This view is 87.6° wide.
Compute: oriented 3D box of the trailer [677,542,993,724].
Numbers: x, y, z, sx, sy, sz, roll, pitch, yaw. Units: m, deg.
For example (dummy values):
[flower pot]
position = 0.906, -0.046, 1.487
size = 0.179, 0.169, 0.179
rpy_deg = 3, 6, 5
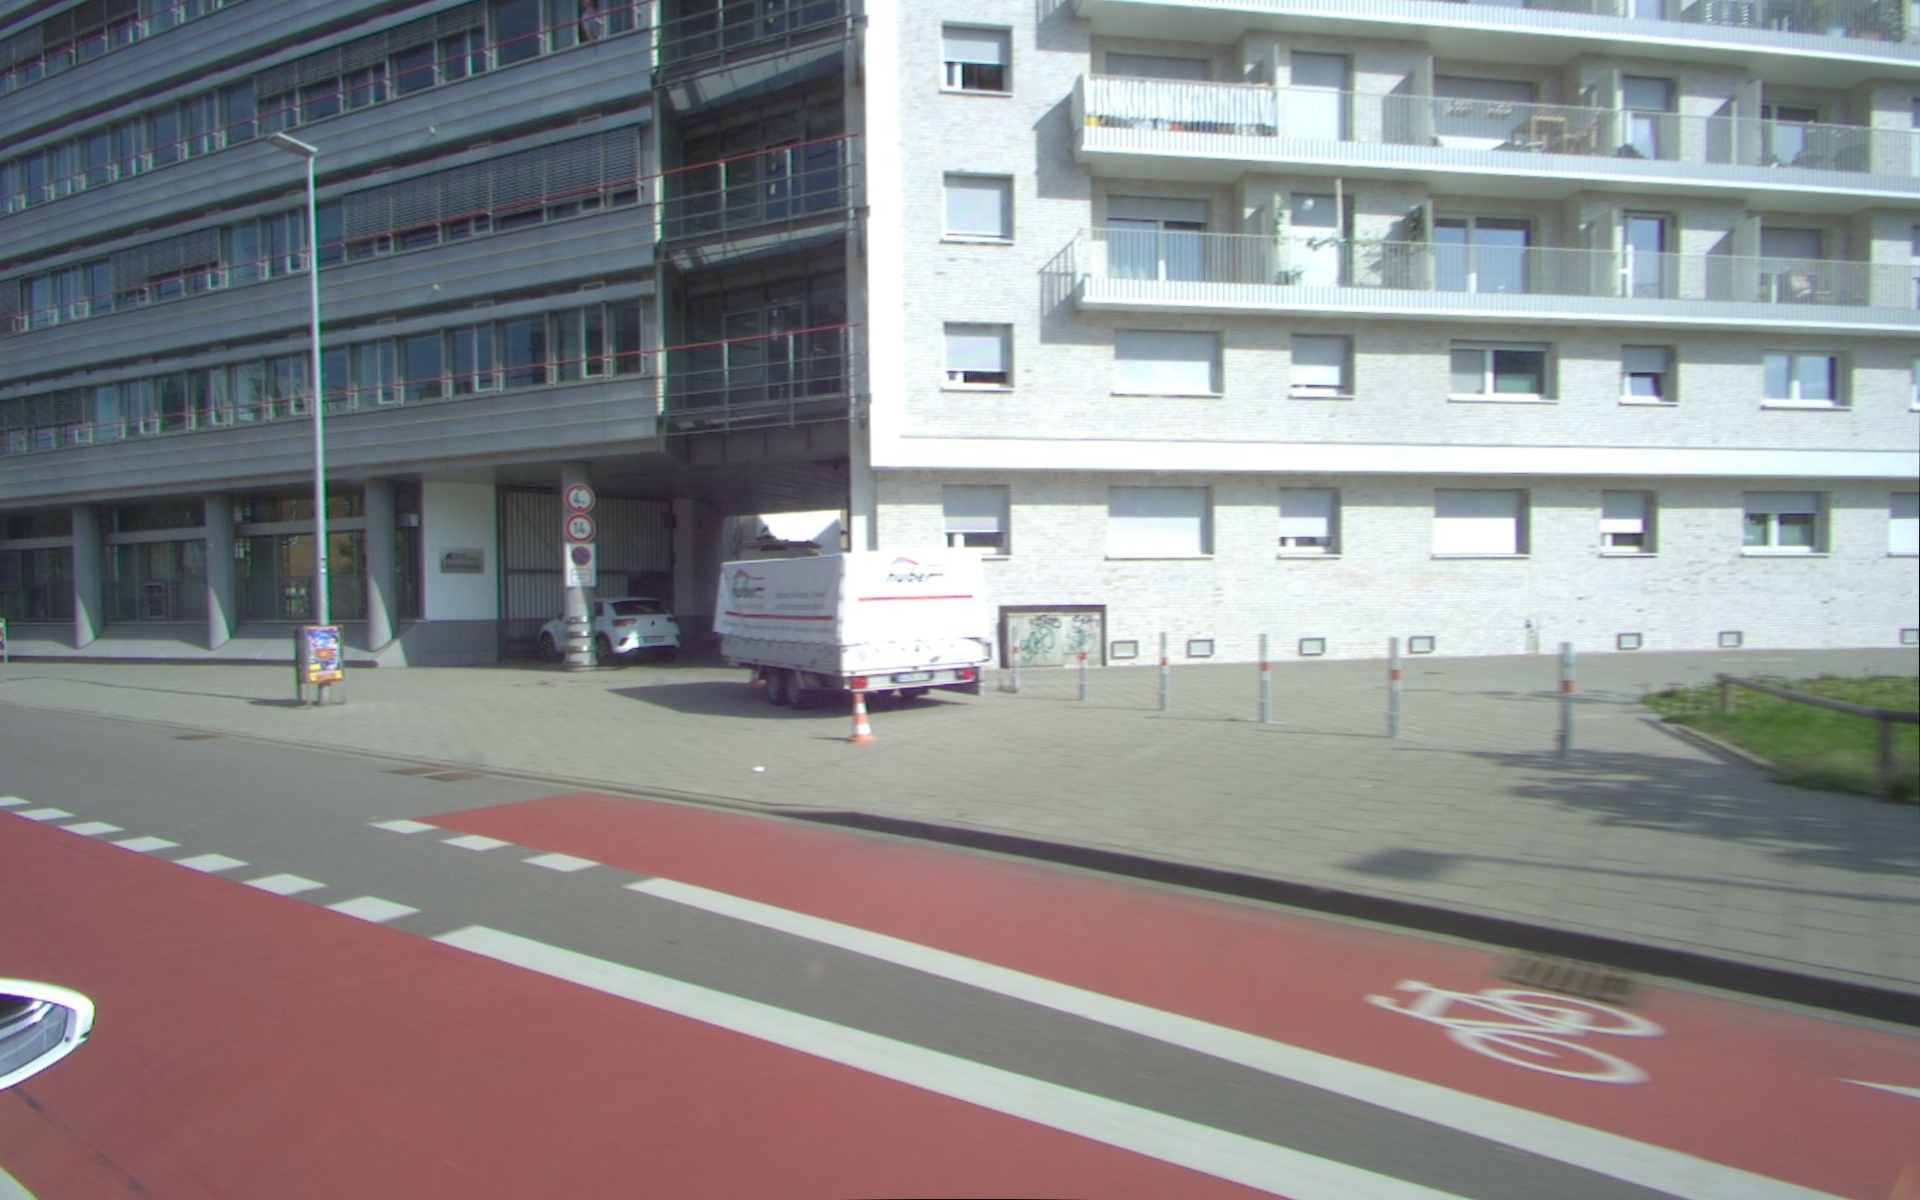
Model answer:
[trailer]
position = -2.163, 0.402, 15.118
size = 2.365, 2.180, 5.911
rpy_deg = -1, 0, -34

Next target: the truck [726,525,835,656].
[truck]
position = -4.763, -0.373, 27.538
size = 1.961, 3.141, 6.145
rpy_deg = -2, 3, -2

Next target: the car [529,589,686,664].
[car]
position = -8.372, 0.554, 23.628
size = 3.951, 1.611, 1.736
rpy_deg = 1, 1, 40
